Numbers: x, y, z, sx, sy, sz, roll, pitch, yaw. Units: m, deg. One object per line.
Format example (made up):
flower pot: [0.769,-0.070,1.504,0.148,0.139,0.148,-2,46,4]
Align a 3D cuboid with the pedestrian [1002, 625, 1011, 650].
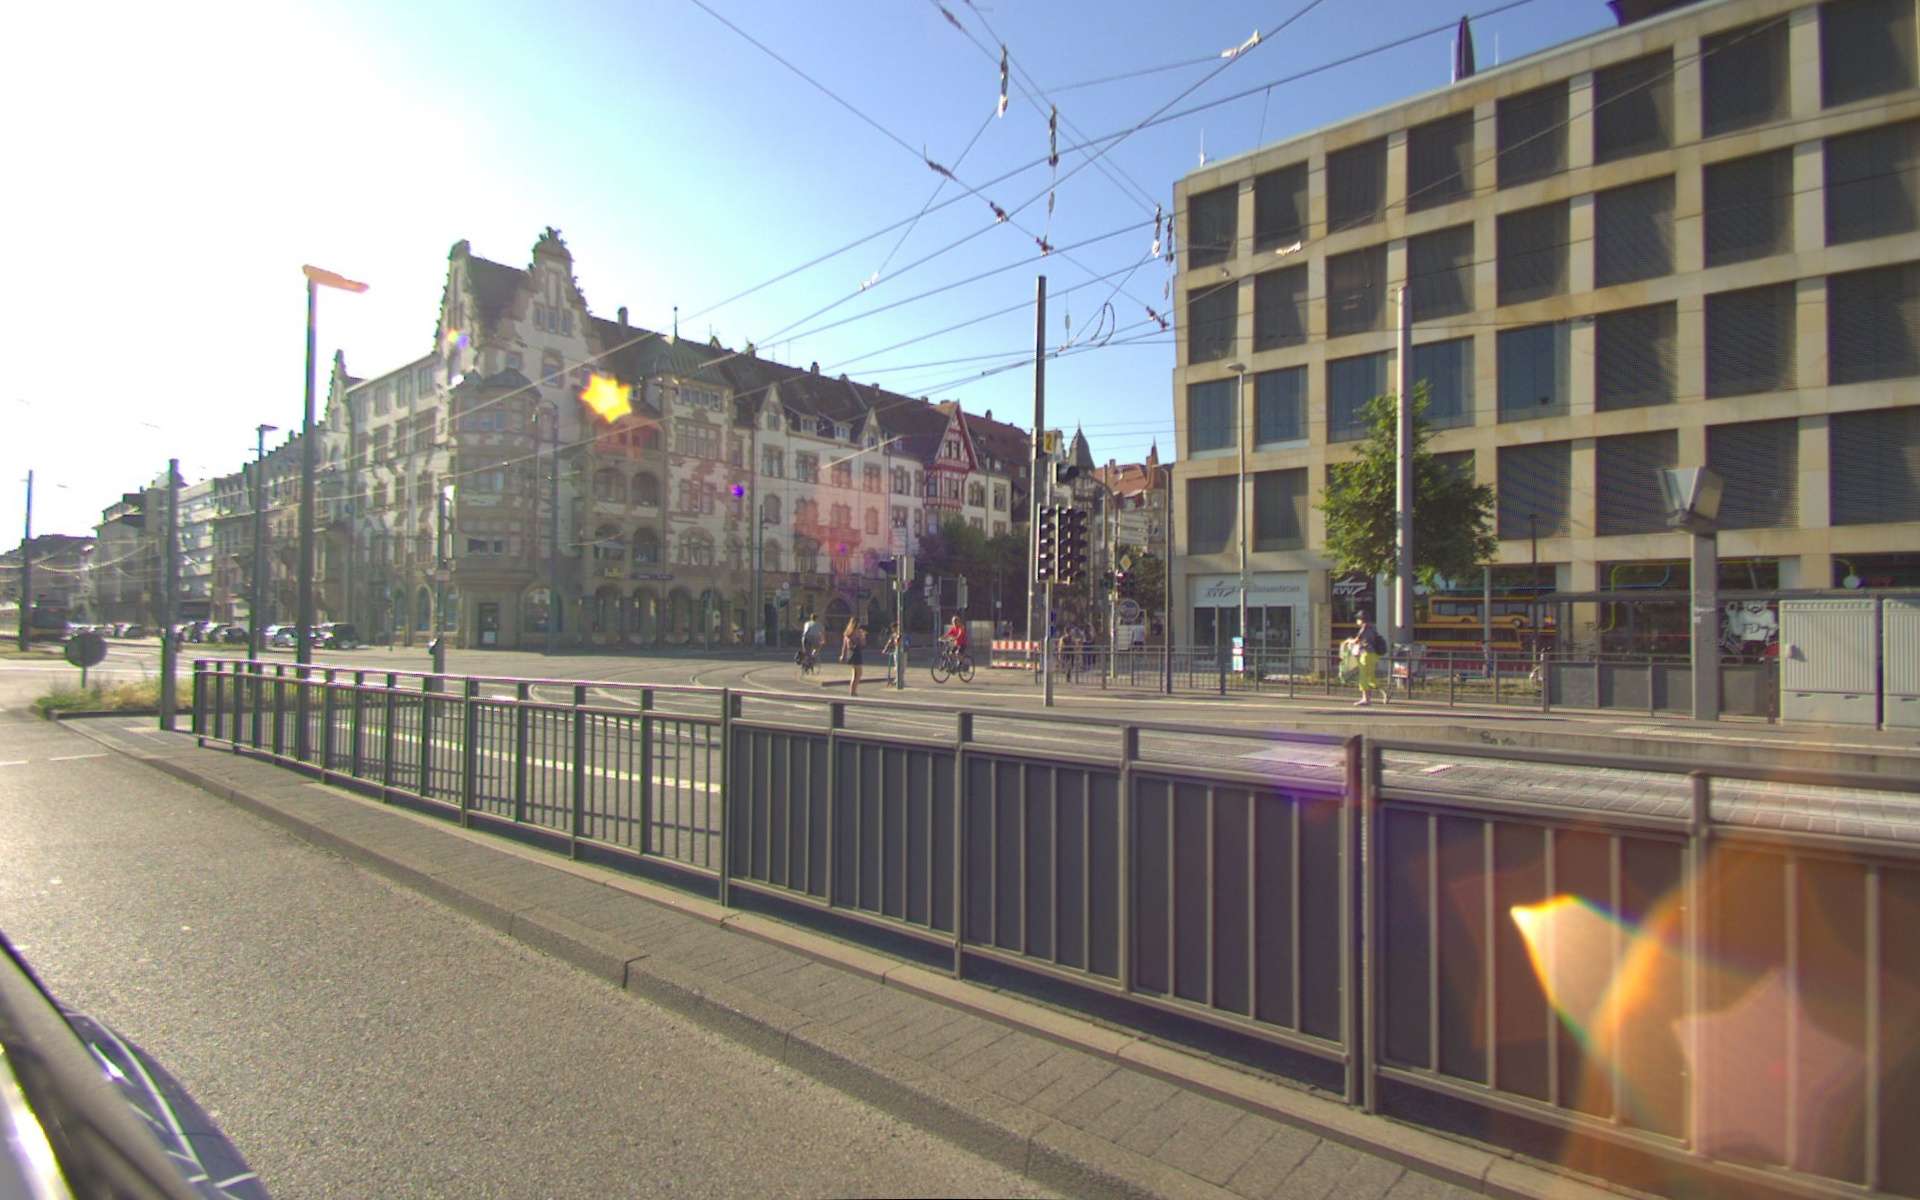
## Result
pedestrian: [3.125,2.496,67.741,0.576,1.695,0.615,0,-2,9]

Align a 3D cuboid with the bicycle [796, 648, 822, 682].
bicycle: [-4.376,1.870,29.388,0.506,0.918,1.889,1,-2,-2]

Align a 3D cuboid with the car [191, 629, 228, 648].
car: [-61.834,3.153,83.368,3.998,1.537,1.718,-2,-1,42]

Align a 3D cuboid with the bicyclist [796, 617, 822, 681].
bicyclist: [-4.361,1.419,29.217,0.638,1.821,0.668,0,-2,0]

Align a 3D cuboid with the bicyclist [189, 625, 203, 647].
bicyclist: [-58.912,2.771,78.058,0.630,1.631,0.675,-2,-3,40]

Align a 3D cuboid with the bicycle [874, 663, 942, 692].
bicycle: [-1.261,1.876,24.656,1.699,0.613,0.512,1,-1,-40]

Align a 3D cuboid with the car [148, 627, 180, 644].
car: [-73.988,3.298,94.061,3.998,1.537,1.718,-2,-1,42]

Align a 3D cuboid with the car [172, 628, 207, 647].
car: [-66.530,3.206,87.346,3.998,1.537,1.718,-2,-1,42]

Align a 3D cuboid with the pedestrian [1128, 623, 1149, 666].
pedestrian: [7.166,1.783,40.651,0.607,1.695,0.583,2,-3,-43]

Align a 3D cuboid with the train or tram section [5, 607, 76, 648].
train or tram section: [-83.430,2.608,91.614,19.466,3.425,2.745,-2,-2,42]

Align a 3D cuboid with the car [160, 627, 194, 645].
car: [-70.392,3.256,90.972,3.998,1.537,1.718,-2,-1,42]

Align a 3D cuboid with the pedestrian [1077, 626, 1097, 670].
pedestrian: [4.974,1.884,39.618,0.582,1.695,0.609,-2,-3,39]

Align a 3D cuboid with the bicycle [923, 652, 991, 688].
bicycle: [-0.074,1.844,26.870,1.861,0.885,0.609,2,-3,-40]

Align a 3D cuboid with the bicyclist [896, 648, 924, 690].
bicyclist: [-1.226,1.675,24.664,0.456,1.001,0.512,2,-3,-39]

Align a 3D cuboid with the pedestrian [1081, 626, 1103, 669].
pedestrian: [5.259,1.883,40.268,0.639,1.695,0.609,-1,-3,38]

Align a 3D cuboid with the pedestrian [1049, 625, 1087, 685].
pedestrian: [3.044,1.537,28.428,0.793,1.657,0.924,-1,-2,28]

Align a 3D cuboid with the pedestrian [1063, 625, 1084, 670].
pedestrian: [4.316,1.809,38.421,0.582,1.695,0.609,-2,-3,39]

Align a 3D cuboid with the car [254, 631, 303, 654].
car: [-48.753,3.004,72.361,3.993,1.537,1.721,-1,-1,37]

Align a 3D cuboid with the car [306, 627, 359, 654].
car: [-40.509,2.586,65.323,3.997,1.682,1.758,-2,-3,40]

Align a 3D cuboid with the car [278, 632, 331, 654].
car: [-44.623,2.904,68.885,4.428,1.487,1.706,-1,-3,39]

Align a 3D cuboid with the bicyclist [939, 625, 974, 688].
bicyclist: [-0.096,1.494,26.760,0.620,1.631,0.685,2,-3,-40]

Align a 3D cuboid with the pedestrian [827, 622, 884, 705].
pedestrian: [-2.160,1.296,20.990,0.793,1.657,0.924,-1,-2,28]

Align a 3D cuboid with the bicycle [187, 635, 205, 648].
bicycle: [-58.855,3.199,77.987,2.067,1.010,0.600,-1,-3,39]

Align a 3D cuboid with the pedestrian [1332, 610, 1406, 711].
pedestrian: [6.970,1.012,17.260,0.933,1.657,0.785,-2,-3,43]
